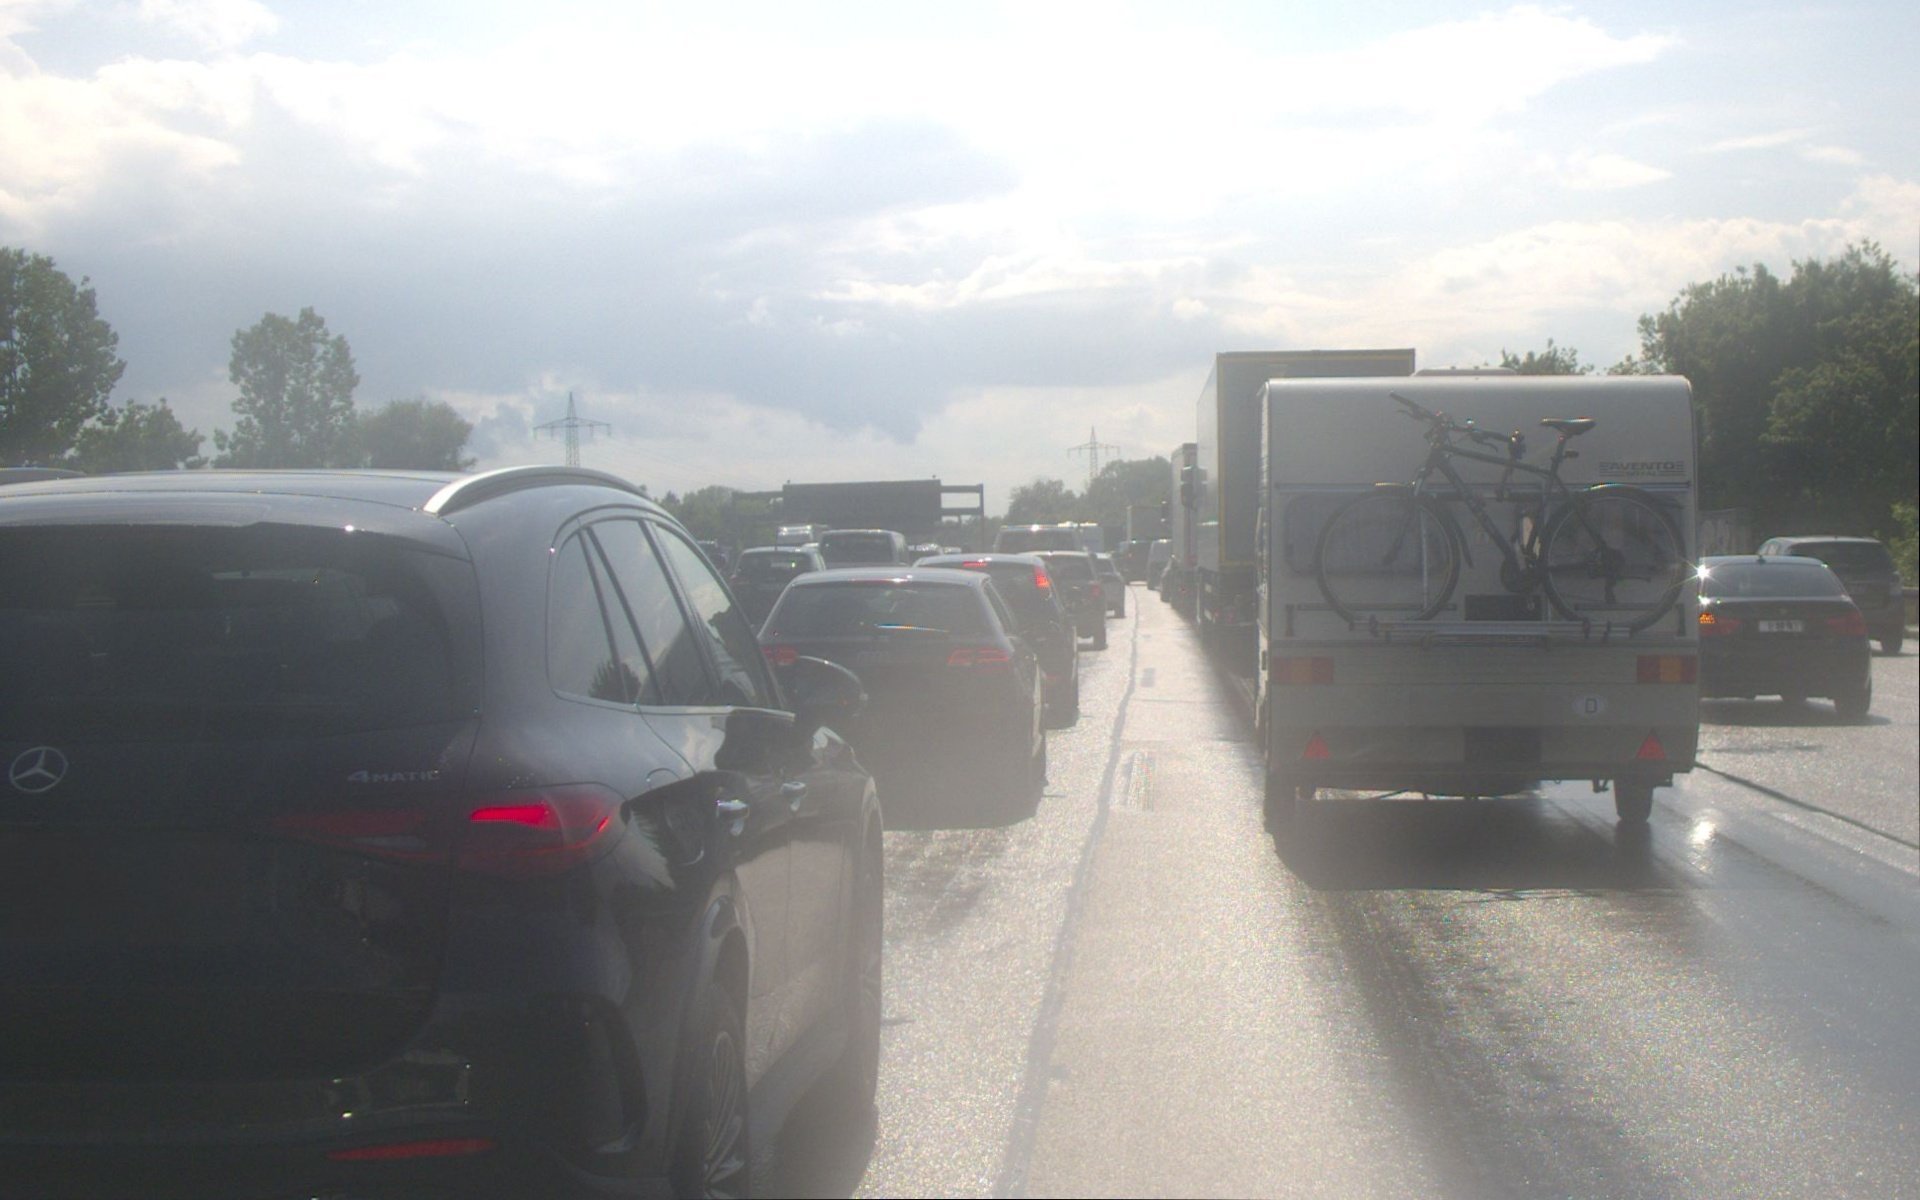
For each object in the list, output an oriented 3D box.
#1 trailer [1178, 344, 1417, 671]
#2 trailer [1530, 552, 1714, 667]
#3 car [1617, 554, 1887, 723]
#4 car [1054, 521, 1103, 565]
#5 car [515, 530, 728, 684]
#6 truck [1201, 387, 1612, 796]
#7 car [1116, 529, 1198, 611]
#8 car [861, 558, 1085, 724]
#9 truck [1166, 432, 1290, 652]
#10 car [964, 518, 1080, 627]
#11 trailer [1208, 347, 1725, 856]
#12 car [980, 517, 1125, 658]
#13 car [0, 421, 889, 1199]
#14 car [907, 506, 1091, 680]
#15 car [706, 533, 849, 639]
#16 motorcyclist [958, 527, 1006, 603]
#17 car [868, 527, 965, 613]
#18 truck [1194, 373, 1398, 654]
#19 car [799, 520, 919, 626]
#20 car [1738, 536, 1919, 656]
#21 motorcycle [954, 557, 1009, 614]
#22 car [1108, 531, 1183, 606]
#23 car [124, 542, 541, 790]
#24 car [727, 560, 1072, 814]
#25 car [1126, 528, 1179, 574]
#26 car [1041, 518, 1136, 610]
[{"bbox_3d":[4.693,-1.239,48.071,3.007,4.152,8.534,0,1,5],"label":"trailer"},{"bbox_3d":[8.778,0.095,45.878,1.855,1.437,4.147,0,1,3],"label":"trailer"},{"bbox_3d":[7.094,0.304,31.137,1.740,1.415,3.835,0,1,3],"label":"car"},{"bbox_3d":[4.786,-2.291,139.053,1.876,1.754,4.000,0,1,0],"label":"car"},{"bbox_3d":[-3.949,0.055,40.690,1.993,1.714,4.000,0,1,2],"label":"car"},{"bbox_3d":[2.916,-0.087,23.810,2.374,2.468,5.755,0,1,3],"label":"truck"},{"bbox_3d":[5.064,-0.777,88.009,1.994,2.007,4.000,1,1,4],"label":"car"},{"bbox_3d":[0.180,0.327,31.259,1.806,1.402,4.000,0,1,3],"label":"car"},{"bbox_3d":[6.092,-1.311,78.984,2.502,4.813,7.543,0,1,2],"label":"truck"},{"bbox_3d":[1.210,-0.539,65.492,1.994,2.007,4.000,0,1,4],"label":"car"},{"bbox_3d":[2.709,-0.031,20.091,2.374,2.475,6.522,0,1,3],"label":"trailer"},{"bbox_3d":[1.486,-0.221,53.628,1.994,2.007,4.000,3,1,4],"label":"car"},{"bbox_3d":[-1.312,0.550,7.208,1.994,1.656,4.405,0,1,3],"label":"car"},{"bbox_3d":[0.525,-0.111,41.812,1.994,2.007,4.000,0,1,4],"label":"car"},{"bbox_3d":[-3.138,-0.261,59.911,1.994,1.766,4.000,1,1,4],"label":"car"},{"bbox_3d":[0.503,-0.796,78.337,1.064,1.712,0.785,0,0,4],"label":"motorcyclist"},{"bbox_3d":[-1.005,-0.725,82.090,1.994,2.007,4.000,0,1,4],"label":"car"},{"bbox_3d":[5.214,-1.318,53.567,2.996,4.152,5.239,0,1,5],"label":"truck"},{"bbox_3d":[-2.053,-0.575,71.309,1.994,2.007,4.000,3,1,4],"label":"car"},{"bbox_3d":[12.252,-0.094,48.580,1.788,1.607,4.384,0,1,4],"label":"car"},{"bbox_3d":[0.493,-0.333,78.158,1.074,1.267,2.690,0,1,4],"label":"motorcycle"},{"bbox_3d":[5.335,-0.912,98.440,1.994,2.007,4.000,3,1,4],"label":"car"},{"bbox_3d":[-4.104,0.372,23.169,1.757,1.511,4.208,0,1,4],"label":"car"},{"bbox_3d":[-0.273,0.464,21.075,1.757,1.382,3.944,0,1,4],"label":"car"},{"bbox_3d":[7.512,-1.901,134.476,1.876,1.754,4.000,0,1,0],"label":"car"},{"bbox_3d":[2.920,-0.816,77.628,1.994,2.007,4.000,-1,1,4],"label":"car"}]
